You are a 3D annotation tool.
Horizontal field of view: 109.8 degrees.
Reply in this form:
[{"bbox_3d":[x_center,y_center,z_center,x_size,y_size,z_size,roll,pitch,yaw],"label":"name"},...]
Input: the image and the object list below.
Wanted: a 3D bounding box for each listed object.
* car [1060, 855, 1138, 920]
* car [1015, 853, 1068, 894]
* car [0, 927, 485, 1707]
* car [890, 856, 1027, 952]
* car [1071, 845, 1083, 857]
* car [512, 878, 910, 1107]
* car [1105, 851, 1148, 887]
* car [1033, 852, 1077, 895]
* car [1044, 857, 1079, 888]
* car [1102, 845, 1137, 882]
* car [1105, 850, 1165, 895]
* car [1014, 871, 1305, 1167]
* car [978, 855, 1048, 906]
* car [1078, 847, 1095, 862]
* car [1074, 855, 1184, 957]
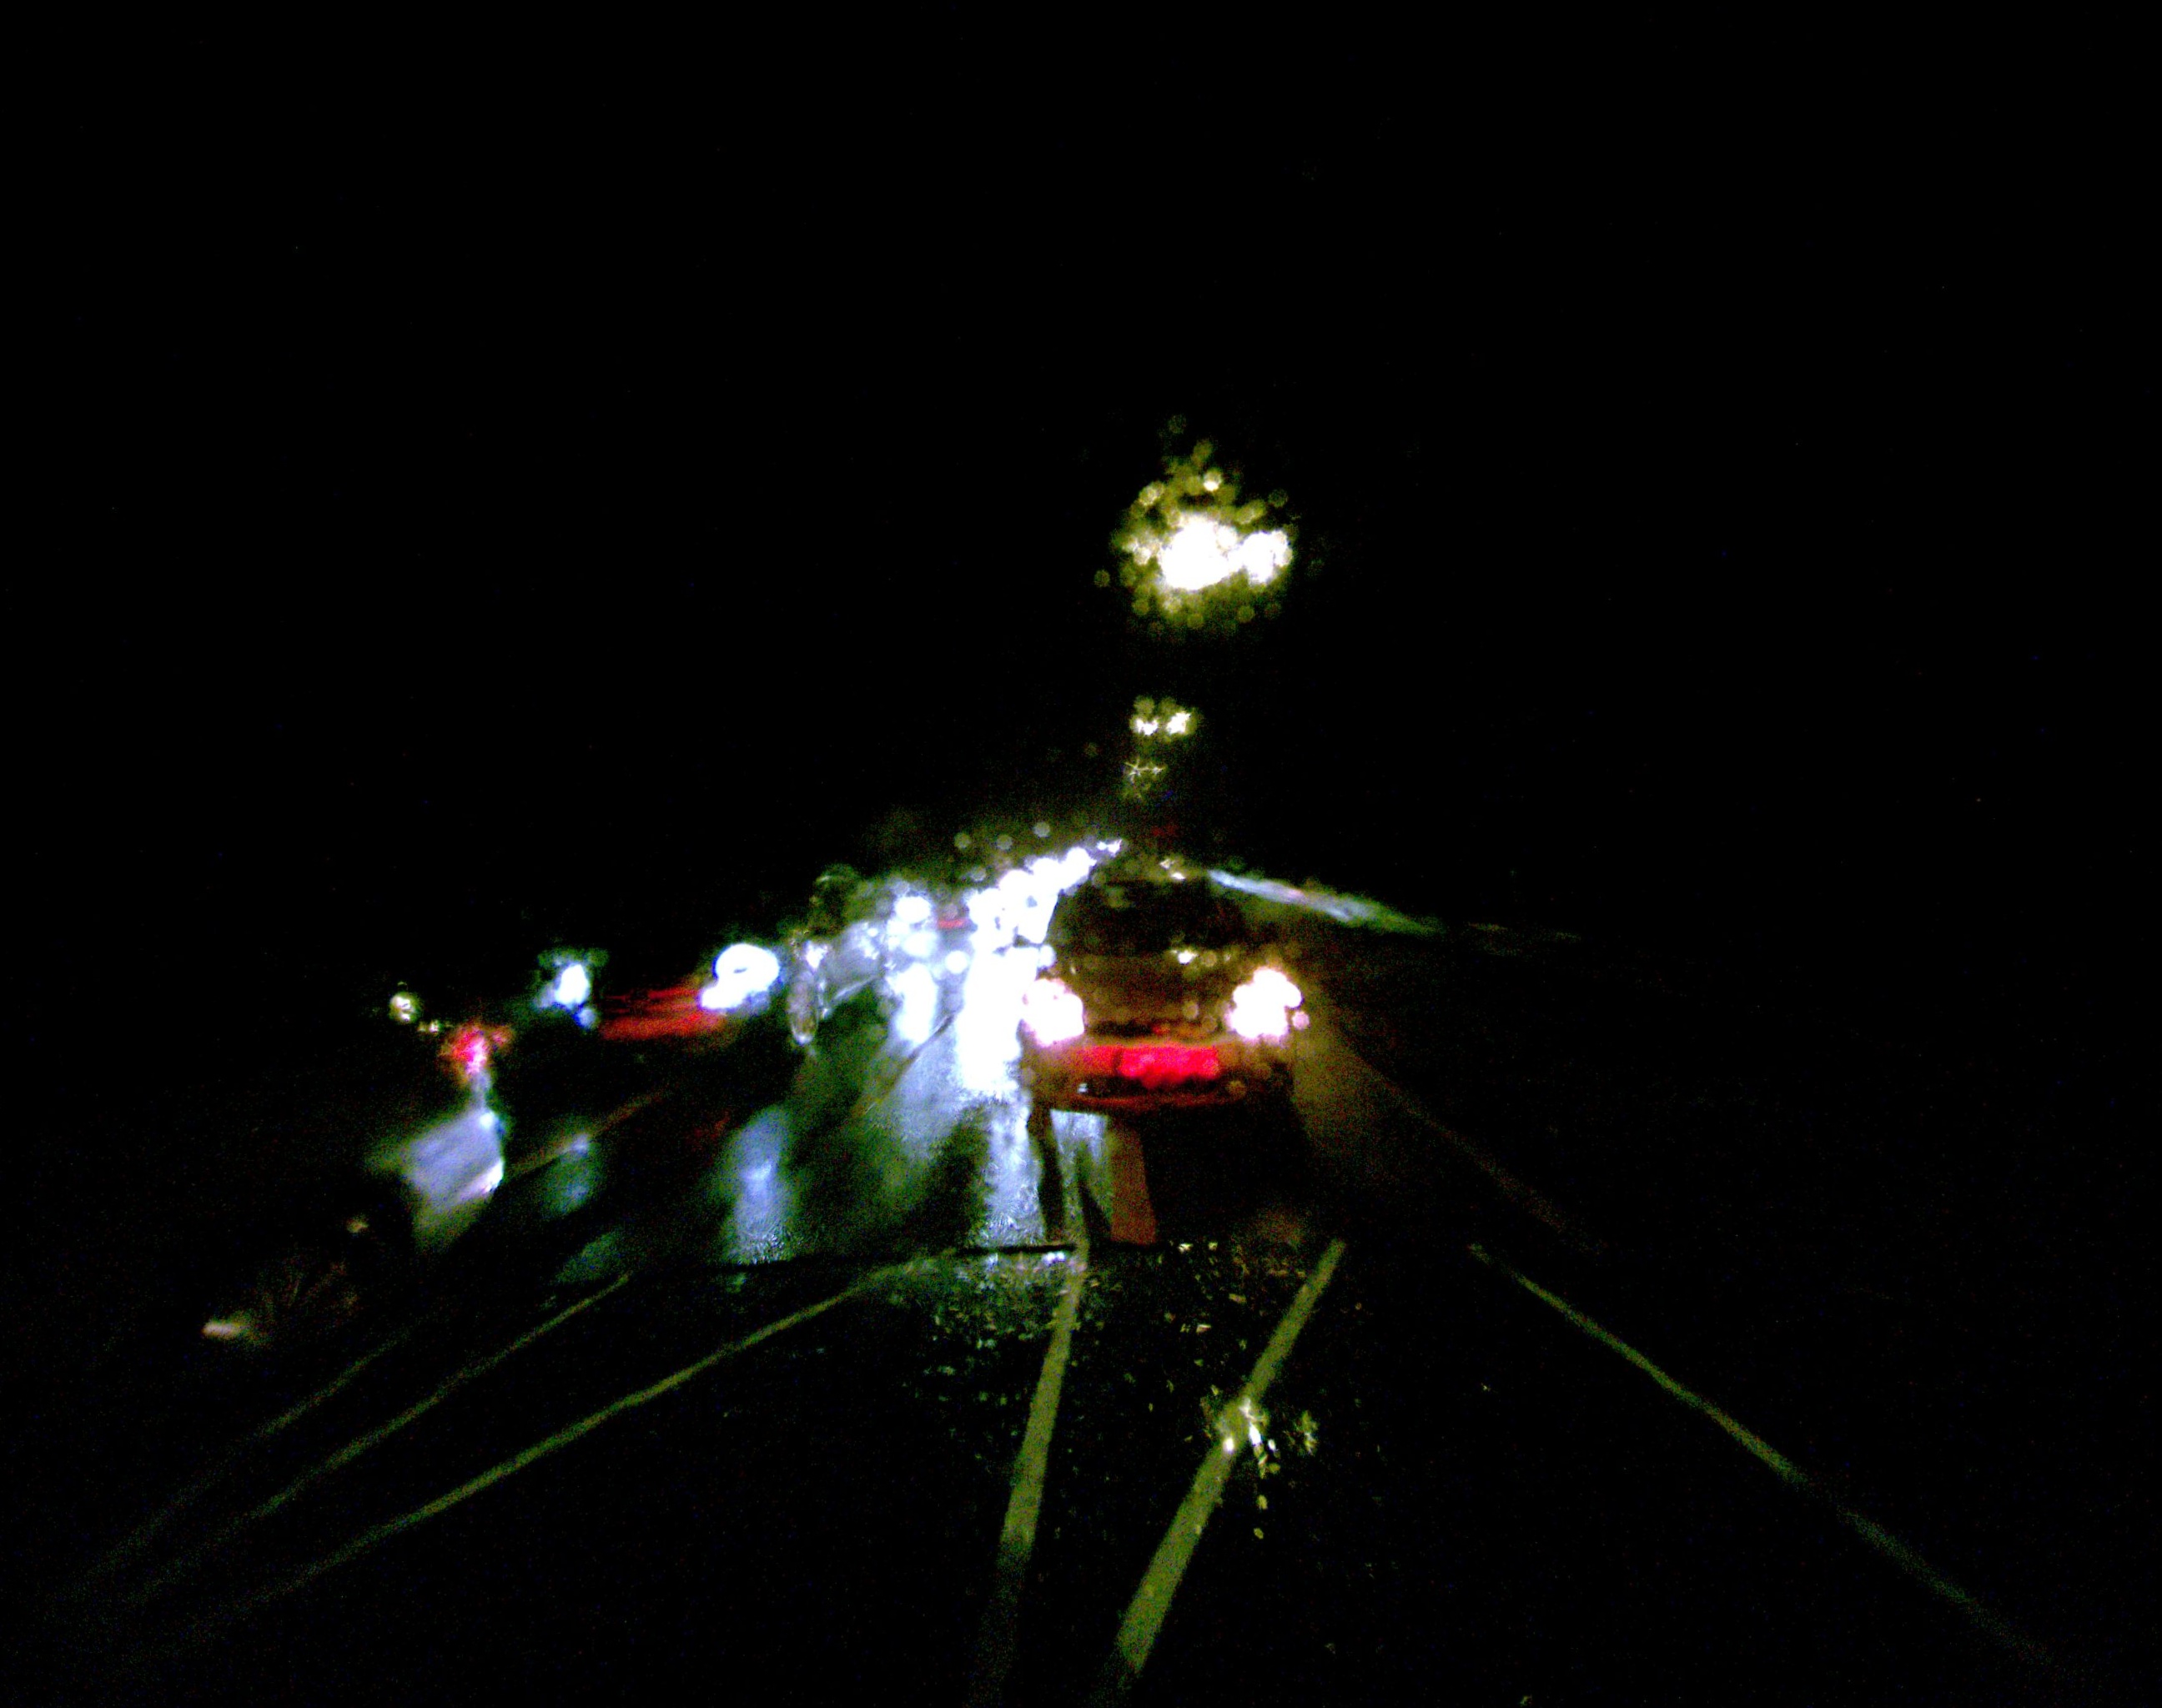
[{"bbox_3d":[0.467,0.839,20.673,1.838,1.417,3.698,-4,1,1],"label":"car"},{"bbox_3d":[-1.625,0.789,32.986,1.998,1.589,4.391,-1,1,1],"label":"car"},{"bbox_3d":[-3.060,1.071,0.500,1.711,1.513,4.414,-2,1,1],"label":"car"},{"bbox_3d":[-2.288,0.878,15.439,1.998,1.589,4.391,-1,1,1],"label":"car"},{"bbox_3d":[-0.653,-0.460,129.752,1.998,2.002,3.999,-1,1,0],"label":"car"},{"bbox_3d":[-3.119,1.061,7.505,1.743,1.409,4.140,-2,1,2],"label":"car"},{"bbox_3d":[2.265,0.702,38.111,1.998,1.574,4.000,-2,1,3],"label":"car"},{"bbox_3d":[-1.294,0.967,39.653,1.998,2.002,3.999,-2,1,1],"label":"car"},{"bbox_3d":[-1.174,1.109,47.677,1.998,1.789,4.000,-1,0,1],"label":"car"},{"bbox_3d":[2.150,0.492,43.650,1.801,2.002,3.999,-2,1,1],"label":"car"},{"bbox_3d":[1.974,0.634,28.988,1.998,1.497,3.999,-2,1,1],"label":"car"},{"bbox_3d":[0.449,0.937,5.824,1.497,1.416,3.389,-4,1,1],"label":"car"},{"bbox_3d":[-2.310,0.872,26.872,1.998,1.589,4.391,-1,1,1],"label":"car"},{"bbox_3d":[0.655,0.032,86.155,1.869,1.654,4.000,-1,0,2],"label":"car"},{"bbox_3d":[0.756,0.799,13.416,1.606,1.417,3.389,-4,1,1],"label":"car"}]
